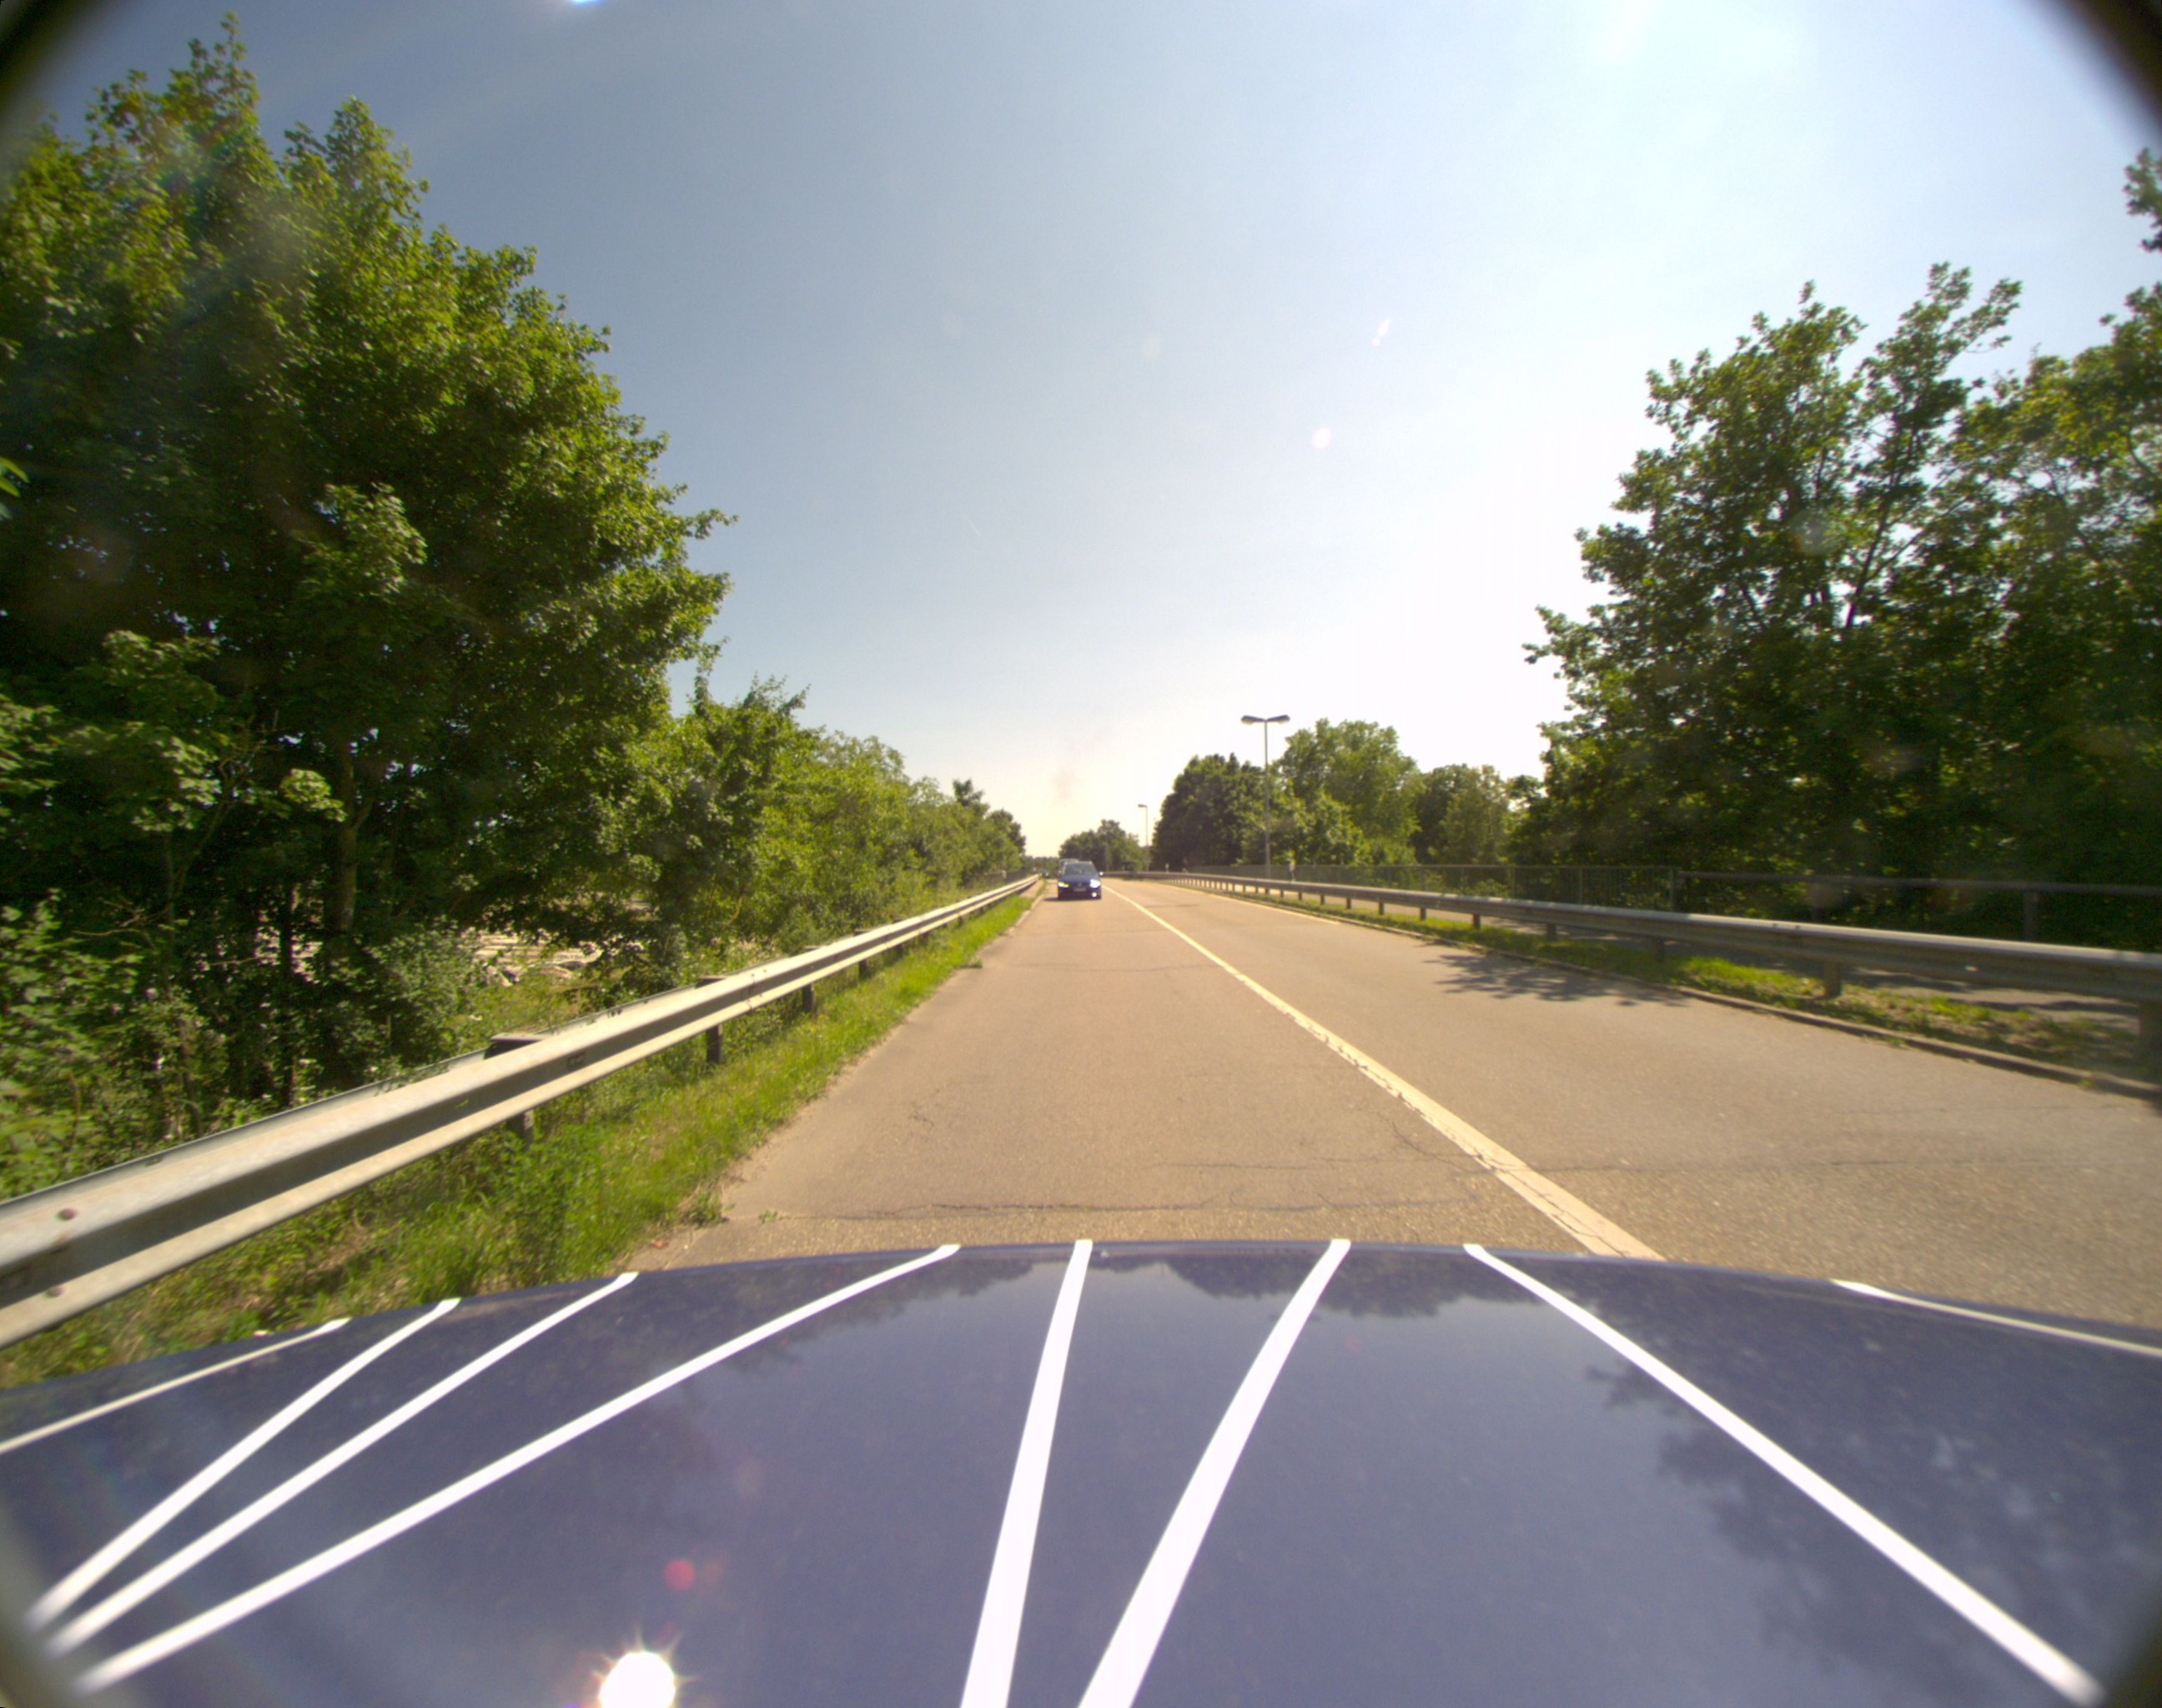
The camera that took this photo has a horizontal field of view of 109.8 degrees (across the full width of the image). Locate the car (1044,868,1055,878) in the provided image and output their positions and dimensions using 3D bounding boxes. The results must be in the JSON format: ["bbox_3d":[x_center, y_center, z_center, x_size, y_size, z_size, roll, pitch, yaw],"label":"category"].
[{"bbox_3d":[-5.239,3.044,124.724,1.765,1.530,3.683,2,0,-3],"label":"car"}]

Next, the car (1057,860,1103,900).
[{"bbox_3d":[-0.066,1.051,32.355,1.764,1.519,4.422,-3,0,-1],"label":"car"}]

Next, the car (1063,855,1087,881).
[{"bbox_3d":[-0.544,1.150,62.772,1.765,1.953,4.261,-3,0,-2],"label":"car"}]
